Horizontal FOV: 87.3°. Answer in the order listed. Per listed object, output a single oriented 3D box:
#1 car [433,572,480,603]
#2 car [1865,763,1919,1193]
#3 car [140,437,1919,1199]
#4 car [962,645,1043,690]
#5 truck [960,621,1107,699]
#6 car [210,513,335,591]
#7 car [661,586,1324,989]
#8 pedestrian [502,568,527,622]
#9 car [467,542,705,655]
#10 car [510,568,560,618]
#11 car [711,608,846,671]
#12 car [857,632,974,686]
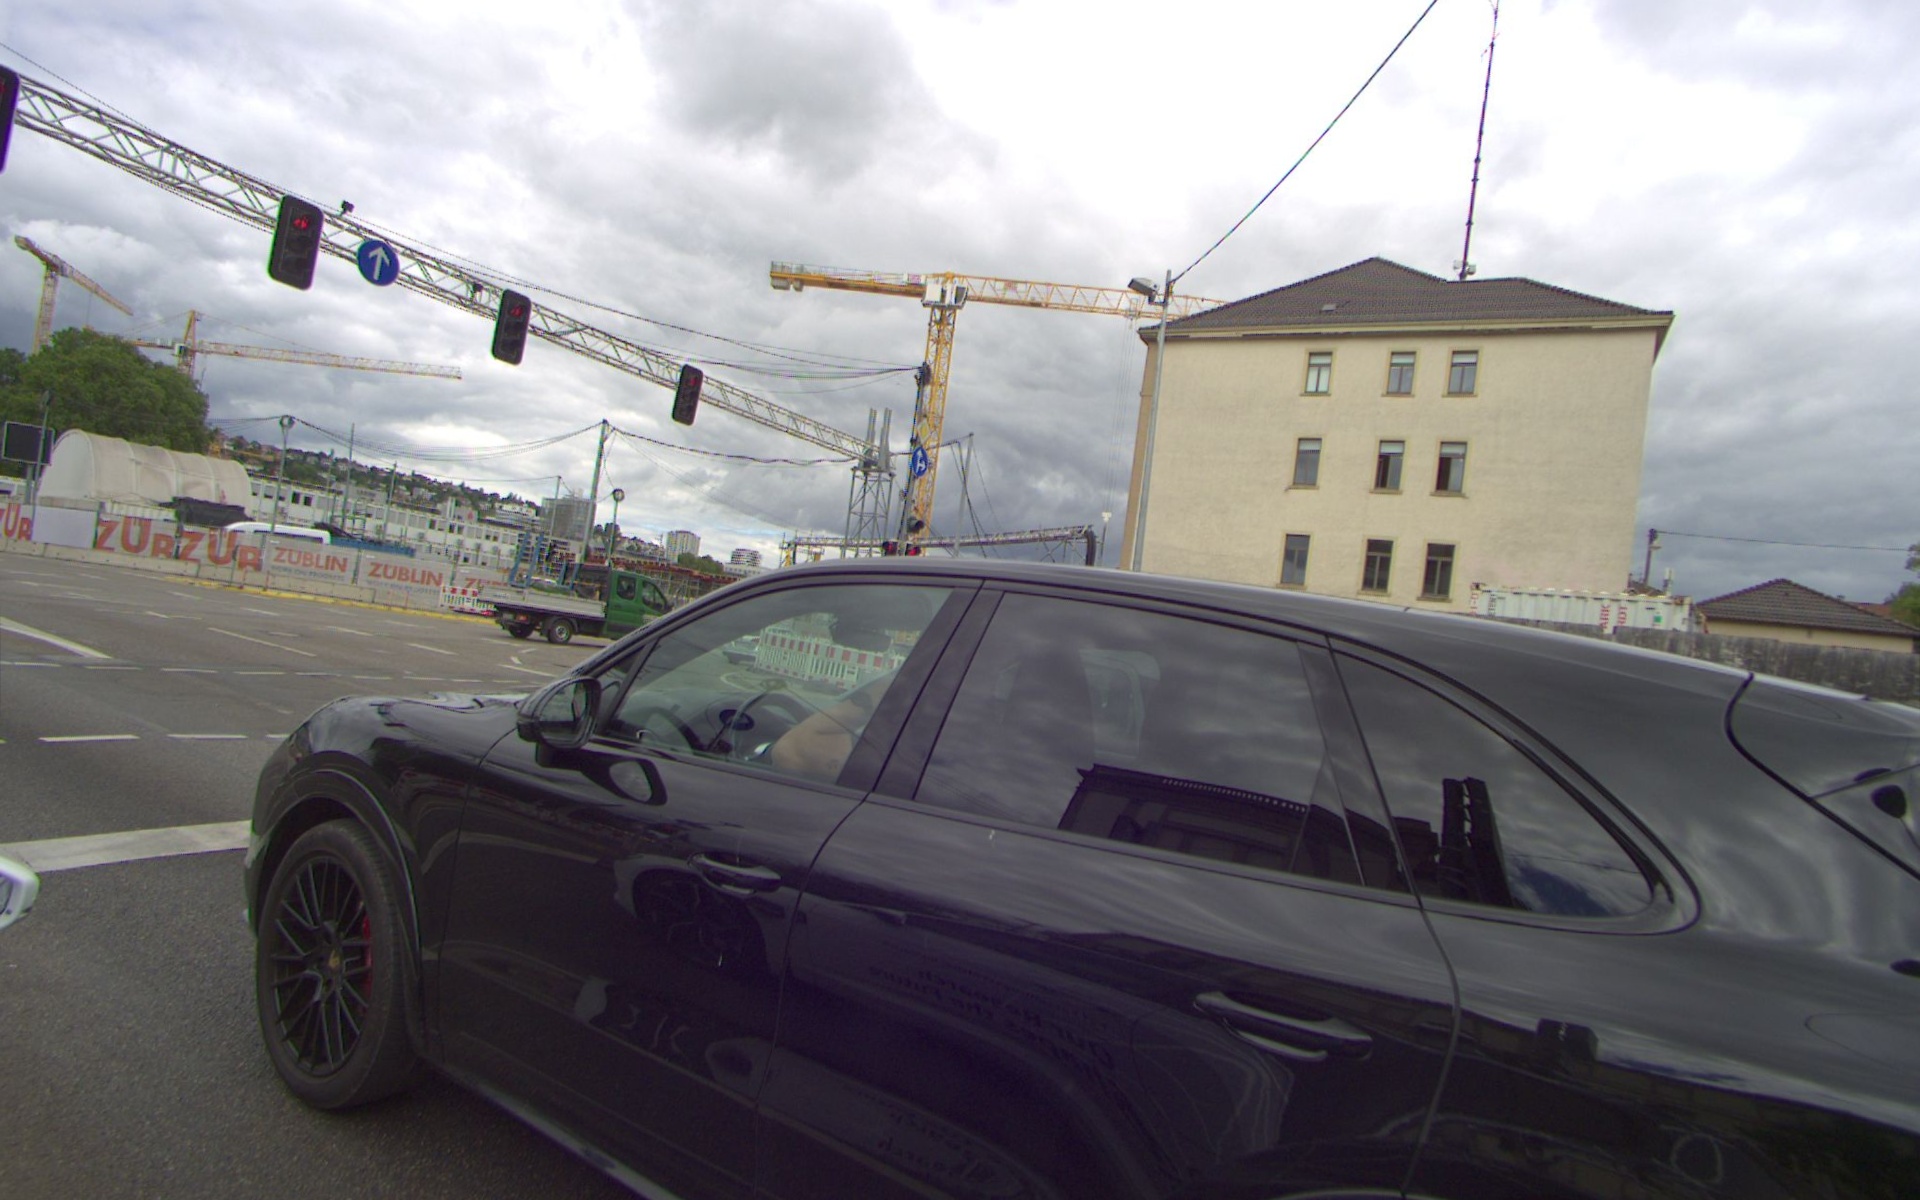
[{"bbox_3d":[-30.526,-0.780,60.929,1.668,1.545,3.960,8,-2,-37],"label":"car"},{"bbox_3d":[5.765,1.686,2.574,4.729,1.644,1.828,6,-2,32],"label":"car"},{"bbox_3d":[-0.046,0.657,2.671,4.410,1.735,1.828,6,-2,32],"label":"car"},{"bbox_3d":[2.261,3.556,52.522,1.804,1.903,4.265,6,-2,41],"label":"car"},{"bbox_3d":[3.762,2.993,48.455,2.585,2.835,8.993,7,-3,35],"label":"truck"},{"bbox_3d":[-29.577,-2.039,43.372,1.660,2.692,3.979,6,-2,45],"label":"car"},{"bbox_3d":[0.113,0.984,6.668,3.934,1.644,1.679,6,-2,32],"label":"car"},{"bbox_3d":[-17.277,-0.186,39.048,0.580,1.999,0.433,8,-1,-17],"label":"pedestrian"},{"bbox_3d":[-10.083,0.063,27.730,2.266,2.331,5.770,6,-2,32],"label":"car"},{"bbox_3d":[-19.167,-0.320,45.301,1.757,1.976,3.108,8,-2,-25],"label":"car"},{"bbox_3d":[-6.098,1.387,34.400,1.654,1.643,4.719,6,-2,32],"label":"car"},{"bbox_3d":[-1.656,2.347,39.295,1.988,1.643,4.816,6,-2,33],"label":"car"}]
